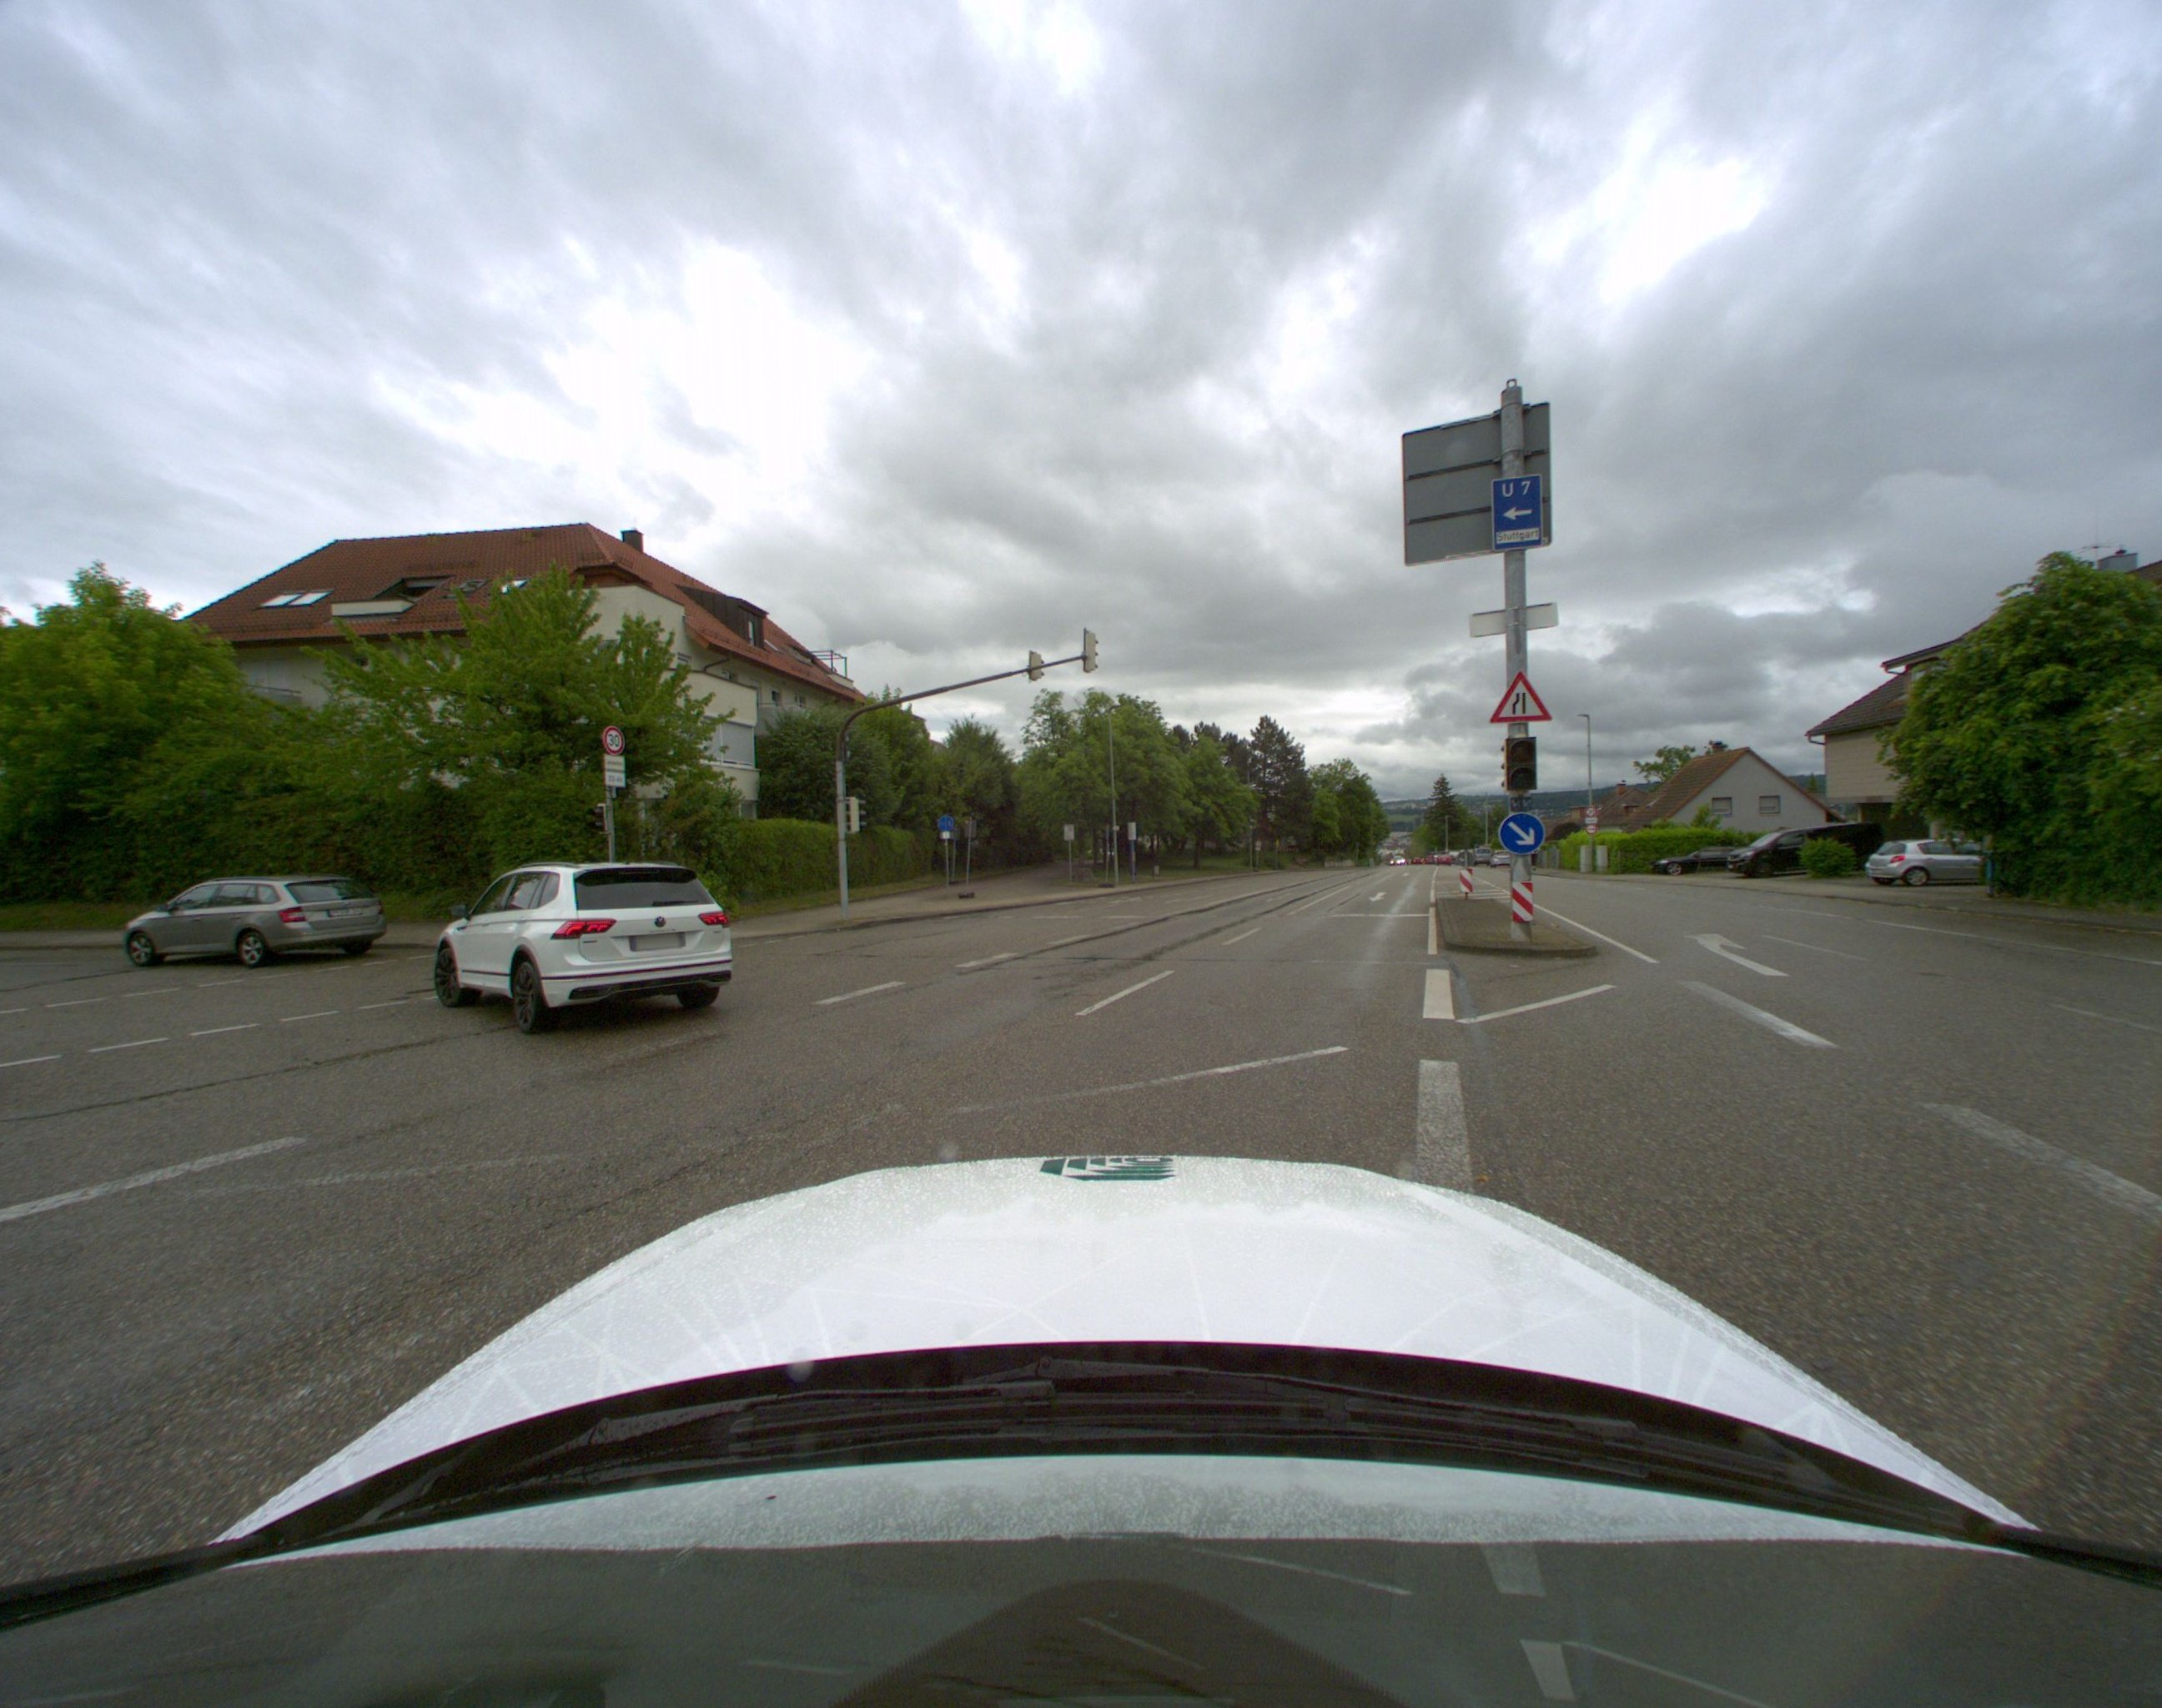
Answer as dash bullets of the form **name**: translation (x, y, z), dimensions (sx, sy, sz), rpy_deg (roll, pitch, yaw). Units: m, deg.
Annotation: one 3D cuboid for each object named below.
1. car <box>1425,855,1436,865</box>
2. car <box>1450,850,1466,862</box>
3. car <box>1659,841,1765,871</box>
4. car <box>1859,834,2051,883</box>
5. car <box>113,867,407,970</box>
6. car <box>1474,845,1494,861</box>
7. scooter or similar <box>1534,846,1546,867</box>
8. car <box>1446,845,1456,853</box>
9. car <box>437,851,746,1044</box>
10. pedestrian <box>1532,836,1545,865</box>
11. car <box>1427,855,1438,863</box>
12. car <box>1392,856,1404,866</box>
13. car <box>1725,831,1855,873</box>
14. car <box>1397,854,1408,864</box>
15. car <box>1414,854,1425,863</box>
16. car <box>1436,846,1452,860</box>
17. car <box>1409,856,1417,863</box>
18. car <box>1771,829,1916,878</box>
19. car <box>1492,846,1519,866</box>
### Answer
- **car**: translation (61.697, 1.069, 143.745), dimensions (1.781, 1.783, 4.023), rpy_deg (-1, 0, 24)
- **car**: translation (51.773, 0.294, 111.847), dimensions (1.834, 1.574, 4.023), rpy_deg (-2, 0, 24)
- **car**: translation (29.616, 0.104, 38.335), dimensions (3.655, 1.370, 1.527), rpy_deg (0, -1, 23)
- **car**: translation (27.026, 0.163, 25.336), dimensions (3.685, 1.395, 1.736), rpy_deg (-1, -1, 17)
- **car**: translation (-14.355, 1.086, 14.315), dimensions (3.886, 1.589, 1.811), rpy_deg (-1, 0, 13)
- **car**: translation (43.590, -0.085, 88.142), dimensions (1.834, 1.574, 4.023), rpy_deg (-1, 2, 24)
- **scooter or similar**: translation (31.068, 0.161, 55.112), dimensions (0.457, 1.361, 1.392), rpy_deg (-1, 0, 21)
- **car**: translation (74.667, -1.086, 164.351), dimensions (1.834, 1.574, 4.023), rpy_deg (-2, 0, 24)
- **car**: translation (-5.732, 0.890, 9.308), dimensions (4.218, 1.696, 1.780), rpy_deg (-2, -1, 41)
- **pedestrian**: translation (30.928, -0.237, 55.046), dimensions (0.650, 2.002, 0.721), rpy_deg (-1, 0, 21)
- **car**: translation (69.088, 0.972, 160.059), dimensions (1.722, 1.574, 4.023), rpy_deg (-2, 0, 24)
- **car**: translation (58.362, 1.288, 149.970), dimensions (1.828, 1.717, 4.023), rpy_deg (-1, 0, 25)
- **car**: translation (28.807, -0.087, 33.224), dimensions (3.597, 1.626, 1.800), rpy_deg (-1, 0, 20)
- **car**: translation (62.772, 0.939, 158.946), dimensions (1.828, 1.717, 4.023), rpy_deg (-1, 0, 25)
- **car**: translation (67.981, 0.880, 163.460), dimensions (1.870, 1.793, 4.023), rpy_deg (-1, 1, 24)
- **car**: translation (45.373, -0.137, 101.721), dimensions (1.739, 1.574, 4.023), rpy_deg (-2, 0, 24)
- **car**: translation (83.680, 1.265, 205.254), dimensions (1.976, 1.651, 4.022), rpy_deg (-1, 0, 22)
- **car**: translation (28.506, -0.014, 30.577), dimensions (3.596, 1.746, 1.717), rpy_deg (-1, 0, 20)
- **car**: translation (36.819, 0.152, 70.670), dimensions (1.834, 1.574, 4.023), rpy_deg (0, 1, 24)
